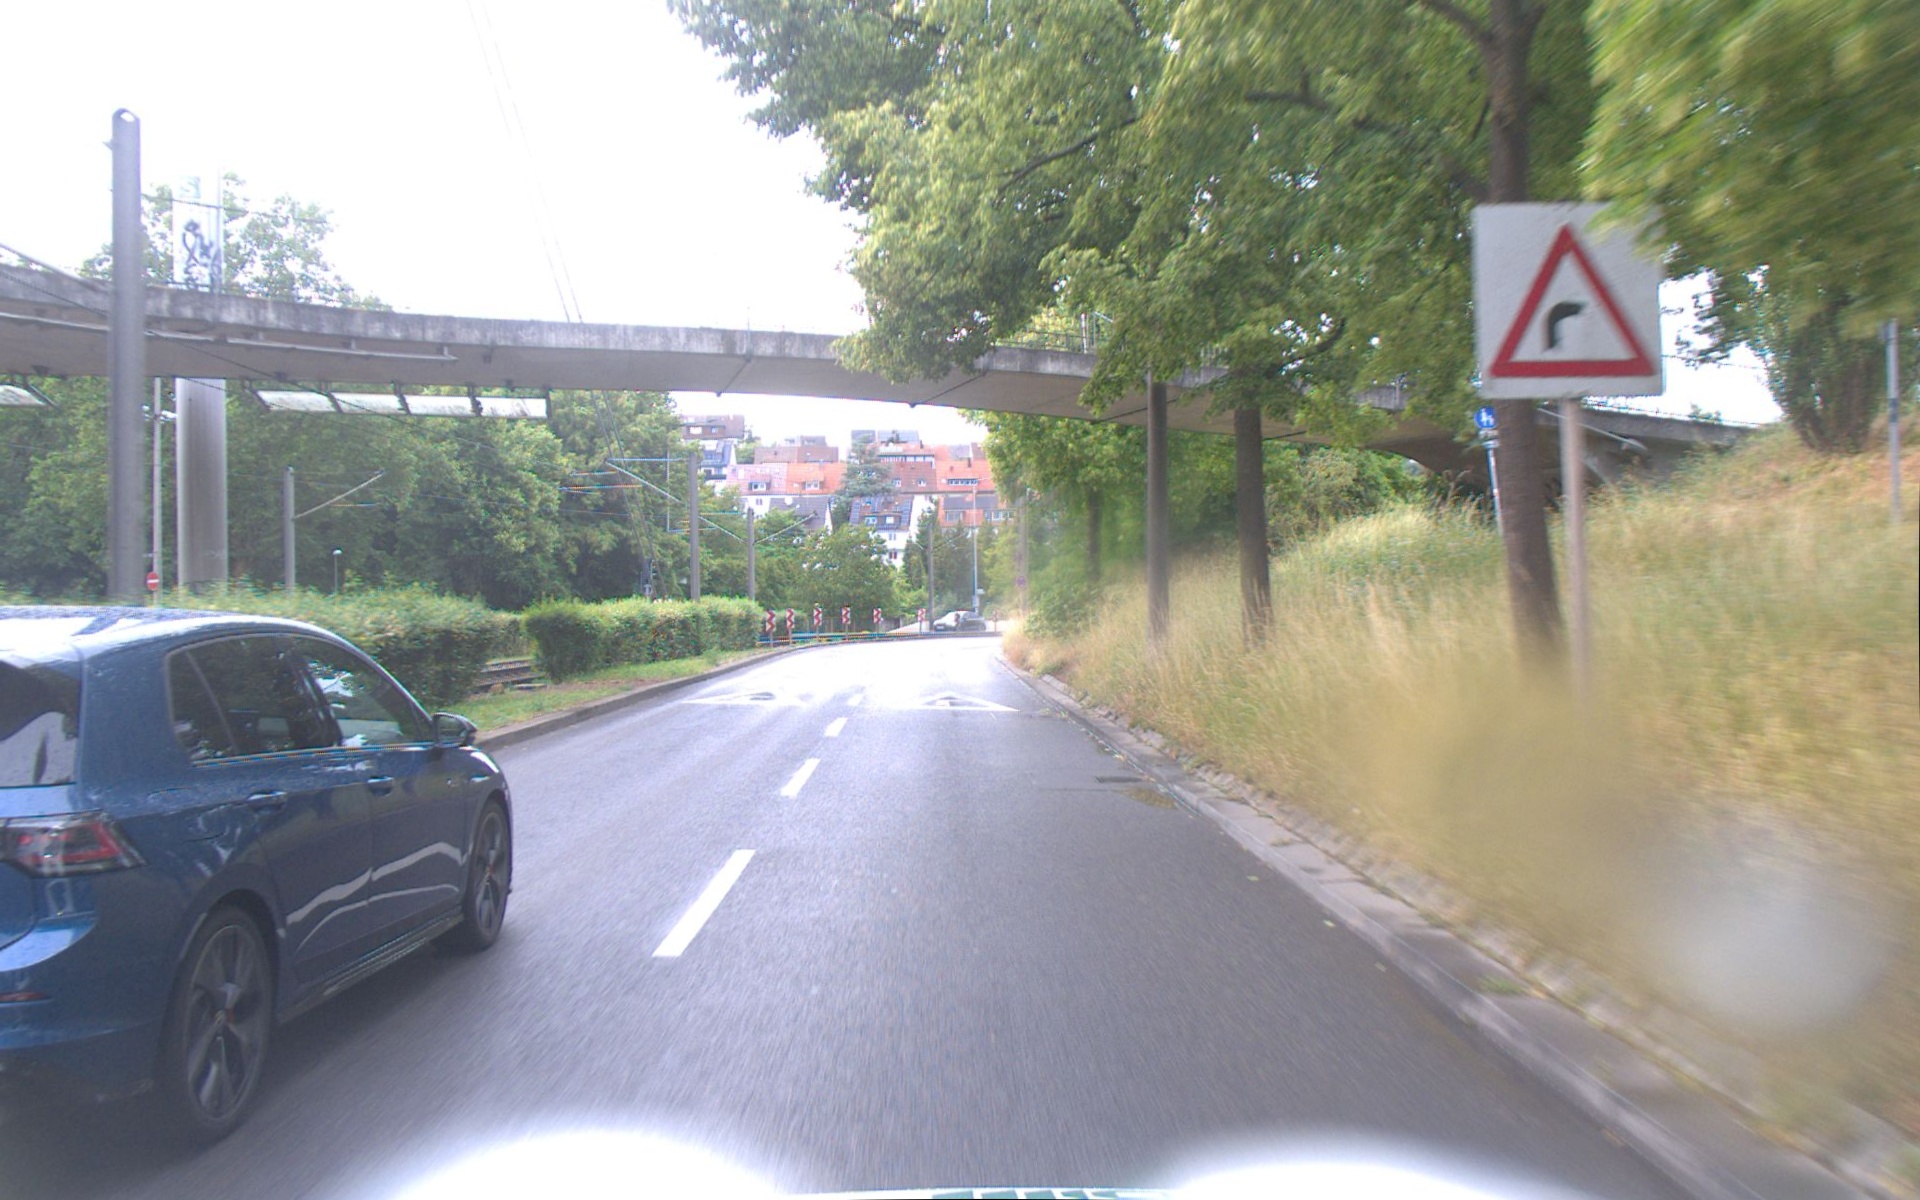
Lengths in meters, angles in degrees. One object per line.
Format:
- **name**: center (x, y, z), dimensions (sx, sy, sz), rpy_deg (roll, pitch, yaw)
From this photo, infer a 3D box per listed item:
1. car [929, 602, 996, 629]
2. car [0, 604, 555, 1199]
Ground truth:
- **car**: center (0.167, 0.937, 100.890), dimensions (1.965, 1.433, 3.976), rpy_deg (-2, 0, 42)
- **car**: center (-2.851, 0.724, 5.778), dimensions (1.771, 1.402, 4.347), rpy_deg (1, 0, 0)
